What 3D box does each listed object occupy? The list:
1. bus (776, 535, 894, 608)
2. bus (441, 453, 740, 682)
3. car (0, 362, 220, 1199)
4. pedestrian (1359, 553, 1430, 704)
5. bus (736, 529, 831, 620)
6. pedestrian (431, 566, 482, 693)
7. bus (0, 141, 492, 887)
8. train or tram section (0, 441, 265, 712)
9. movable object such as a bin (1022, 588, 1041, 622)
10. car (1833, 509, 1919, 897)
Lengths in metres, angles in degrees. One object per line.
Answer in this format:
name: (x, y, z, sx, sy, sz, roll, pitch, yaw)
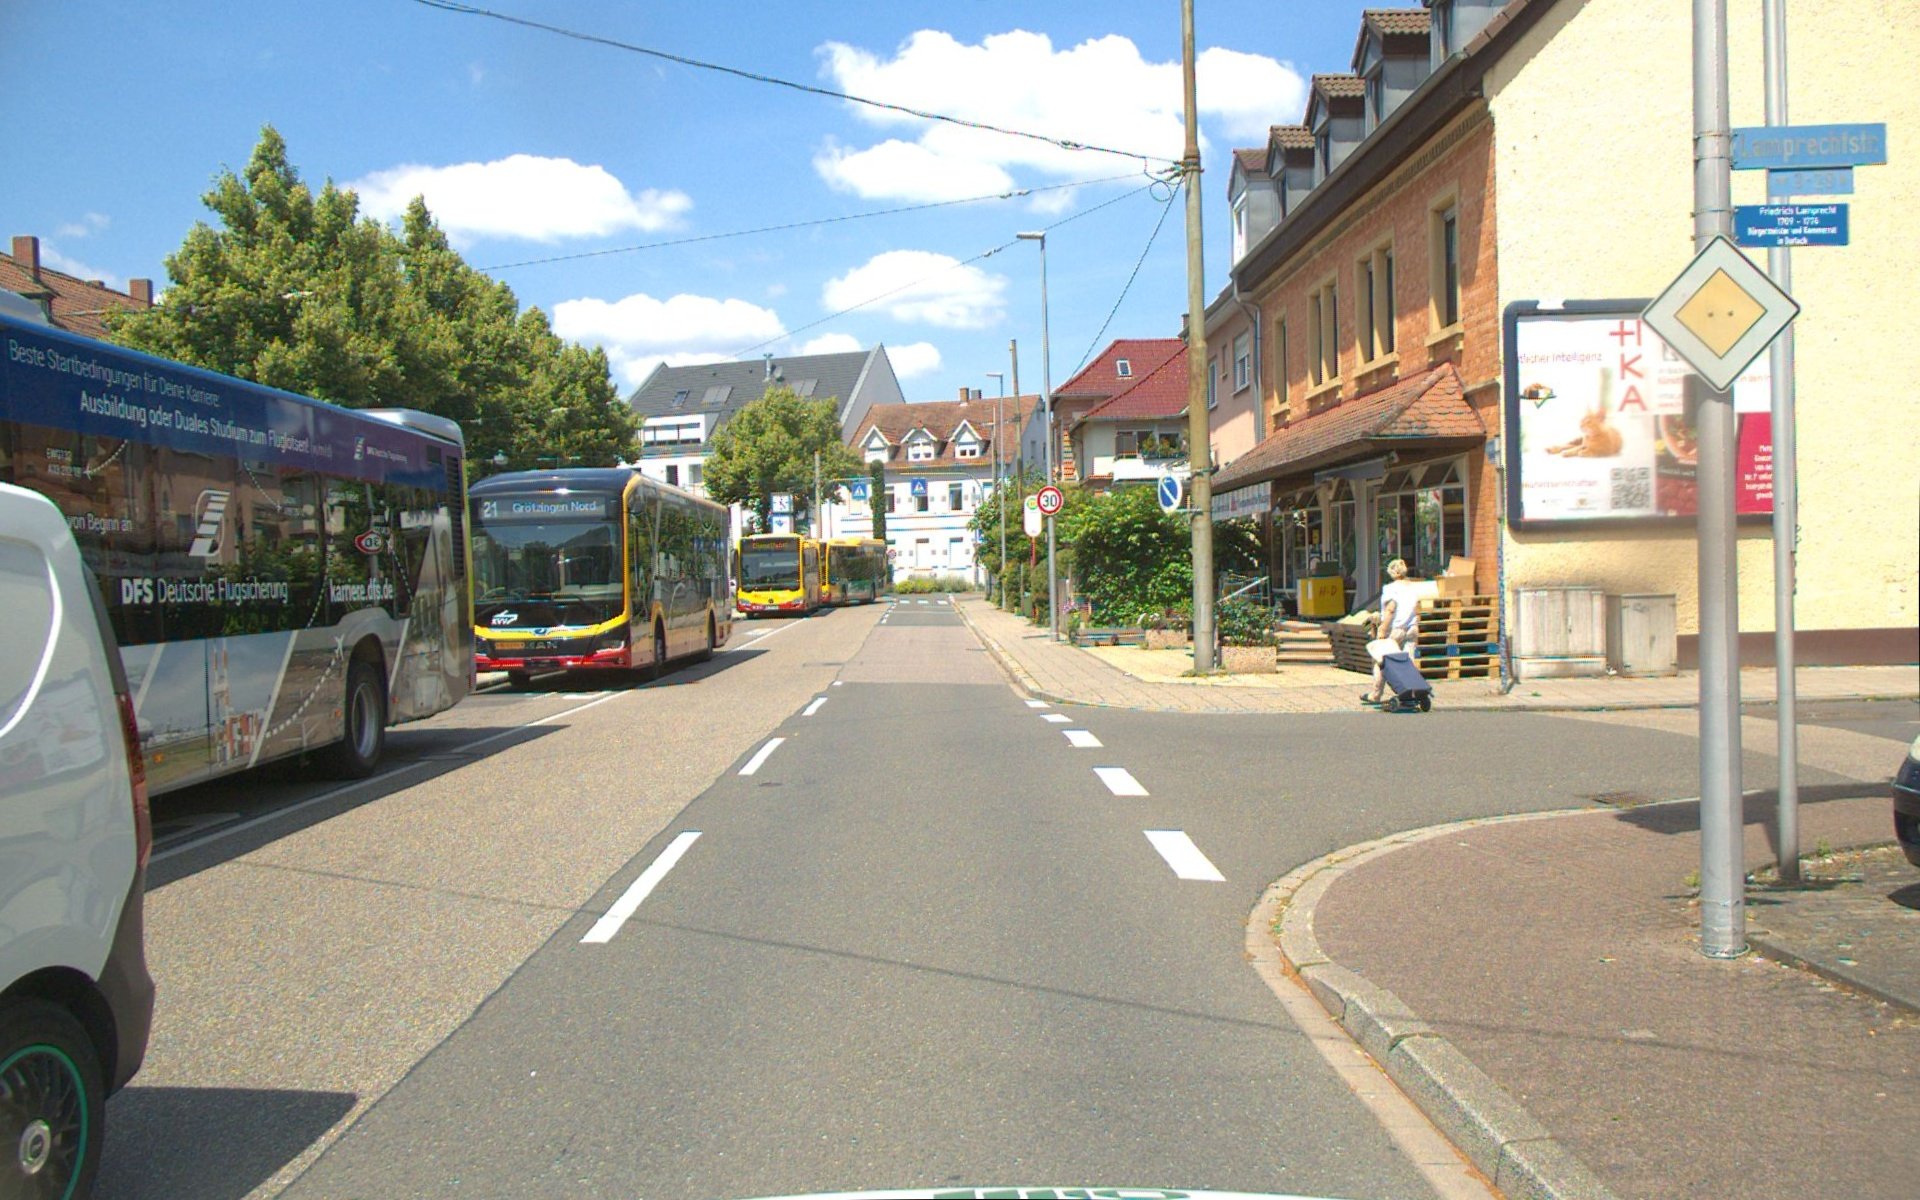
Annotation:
bus: (-5.826, -1.436, 79.781, 2.720, 3.264, 12.319, 0, 2, 10)
bus: (-6.162, -0.420, 30.057, 2.839, 3.304, 12.193, 0, -1, -1)
car: (-2.773, 0.449, 1.900, 1.669, 1.883, 4.713, 0, -1, 1)
pedestrian: (4.966, 0.319, 18.887, 0.690, 1.670, 0.660, -2, 2, 19)
bus: (-6.898, -0.986, 66.236, 2.849, 3.304, 12.114, 0, 0, -2)
pedestrian: (-7.305, 0.424, 24.014, 0.589, 1.808, 0.380, 1, -1, -44)
bus: (-6.009, -0.382, 10.697, 2.849, 3.487, 12.035, 0, -1, -2)
train or tram section: (-14.590, -0.334, 22.991, 2.903, 3.706, 17.347, 0, 0, -1)
movable object such as a bin: (2.047, 0.147, 47.333, 0.398, 0.922, 0.729, -5, 0, -4)
car: (5.831, 0.359, 6.692, 3.811, 1.570, 1.835, -2, 0, -14)
